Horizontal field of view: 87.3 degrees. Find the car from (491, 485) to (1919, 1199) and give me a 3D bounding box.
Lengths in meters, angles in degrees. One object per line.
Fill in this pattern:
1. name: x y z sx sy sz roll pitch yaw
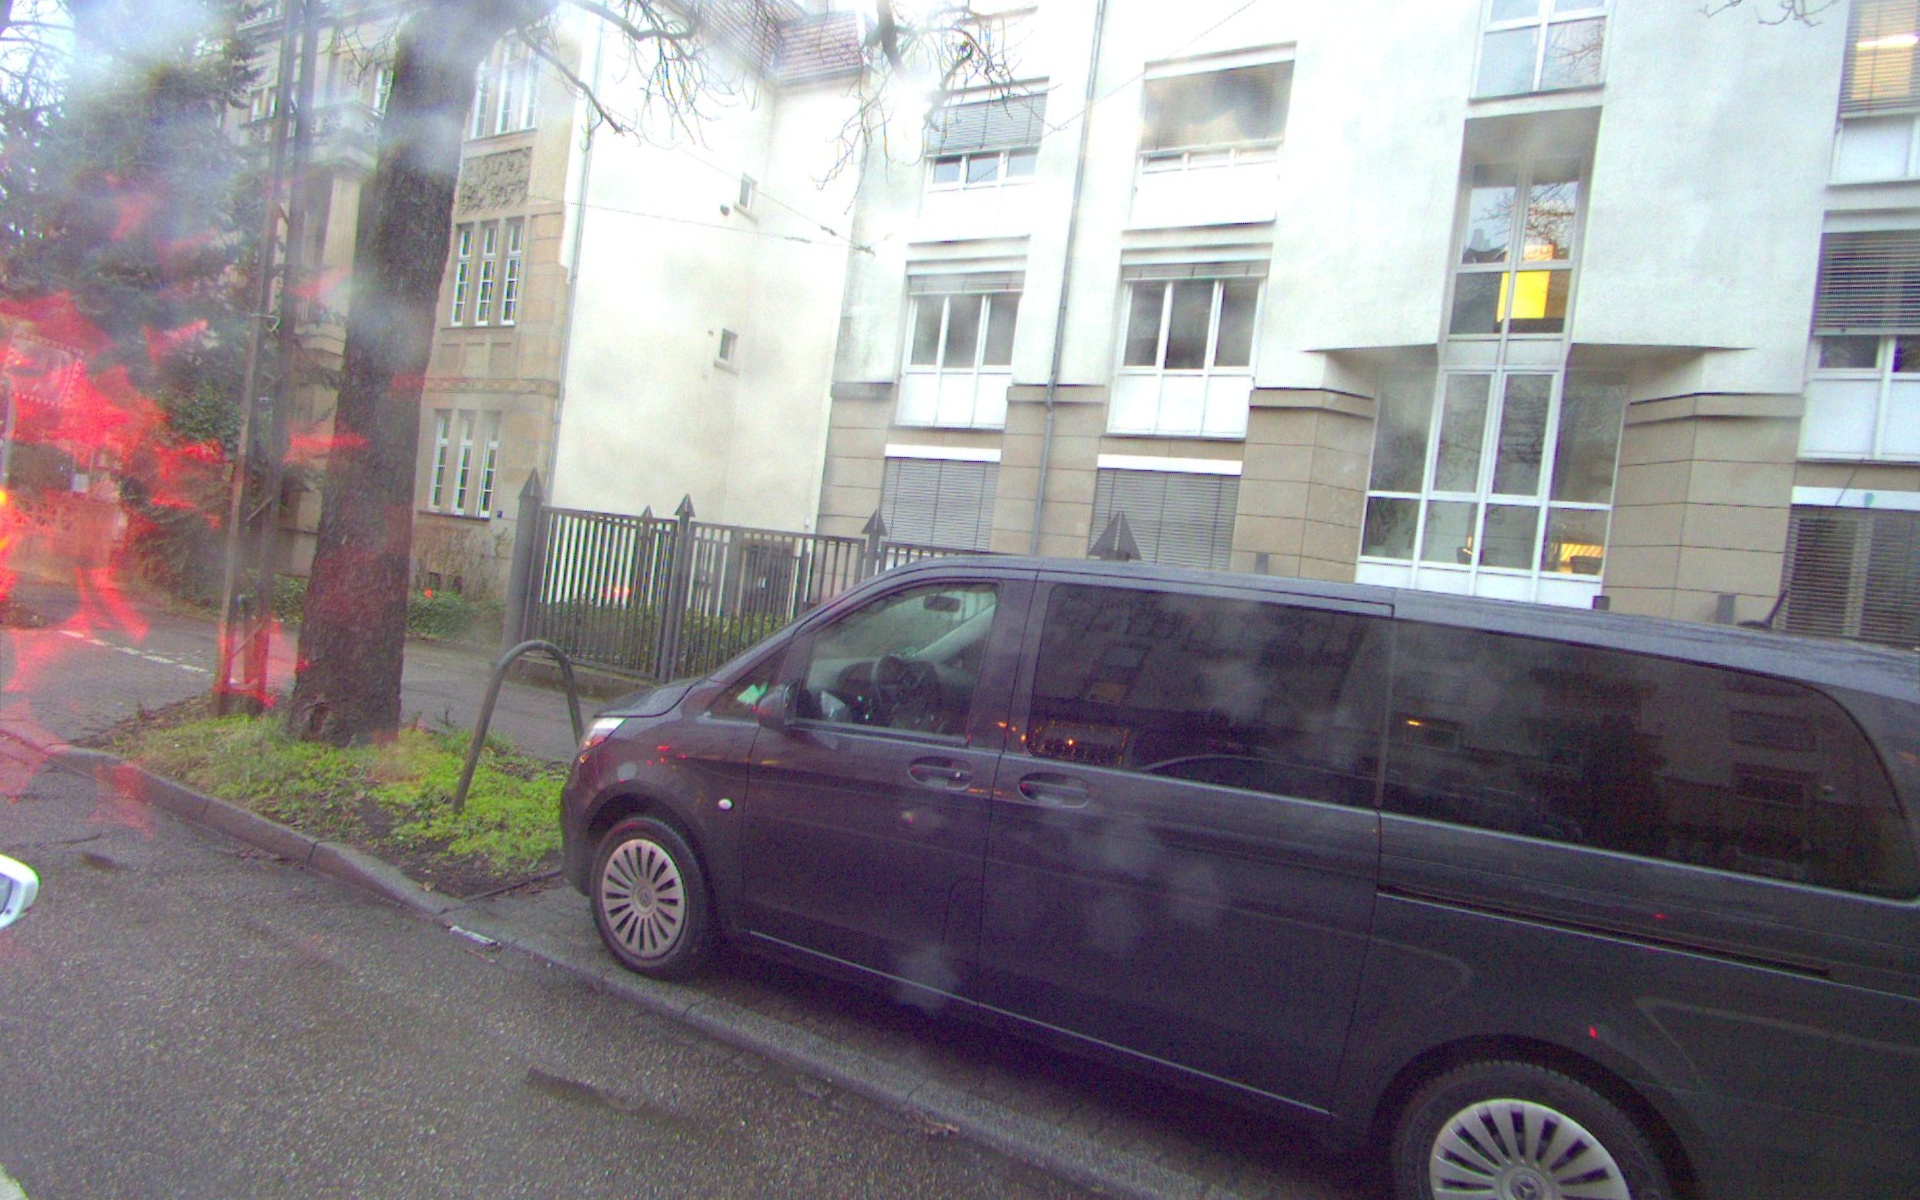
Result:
1. car: 0.712 0.791 4.030 4.877 1.899 2.035 7 0 28
